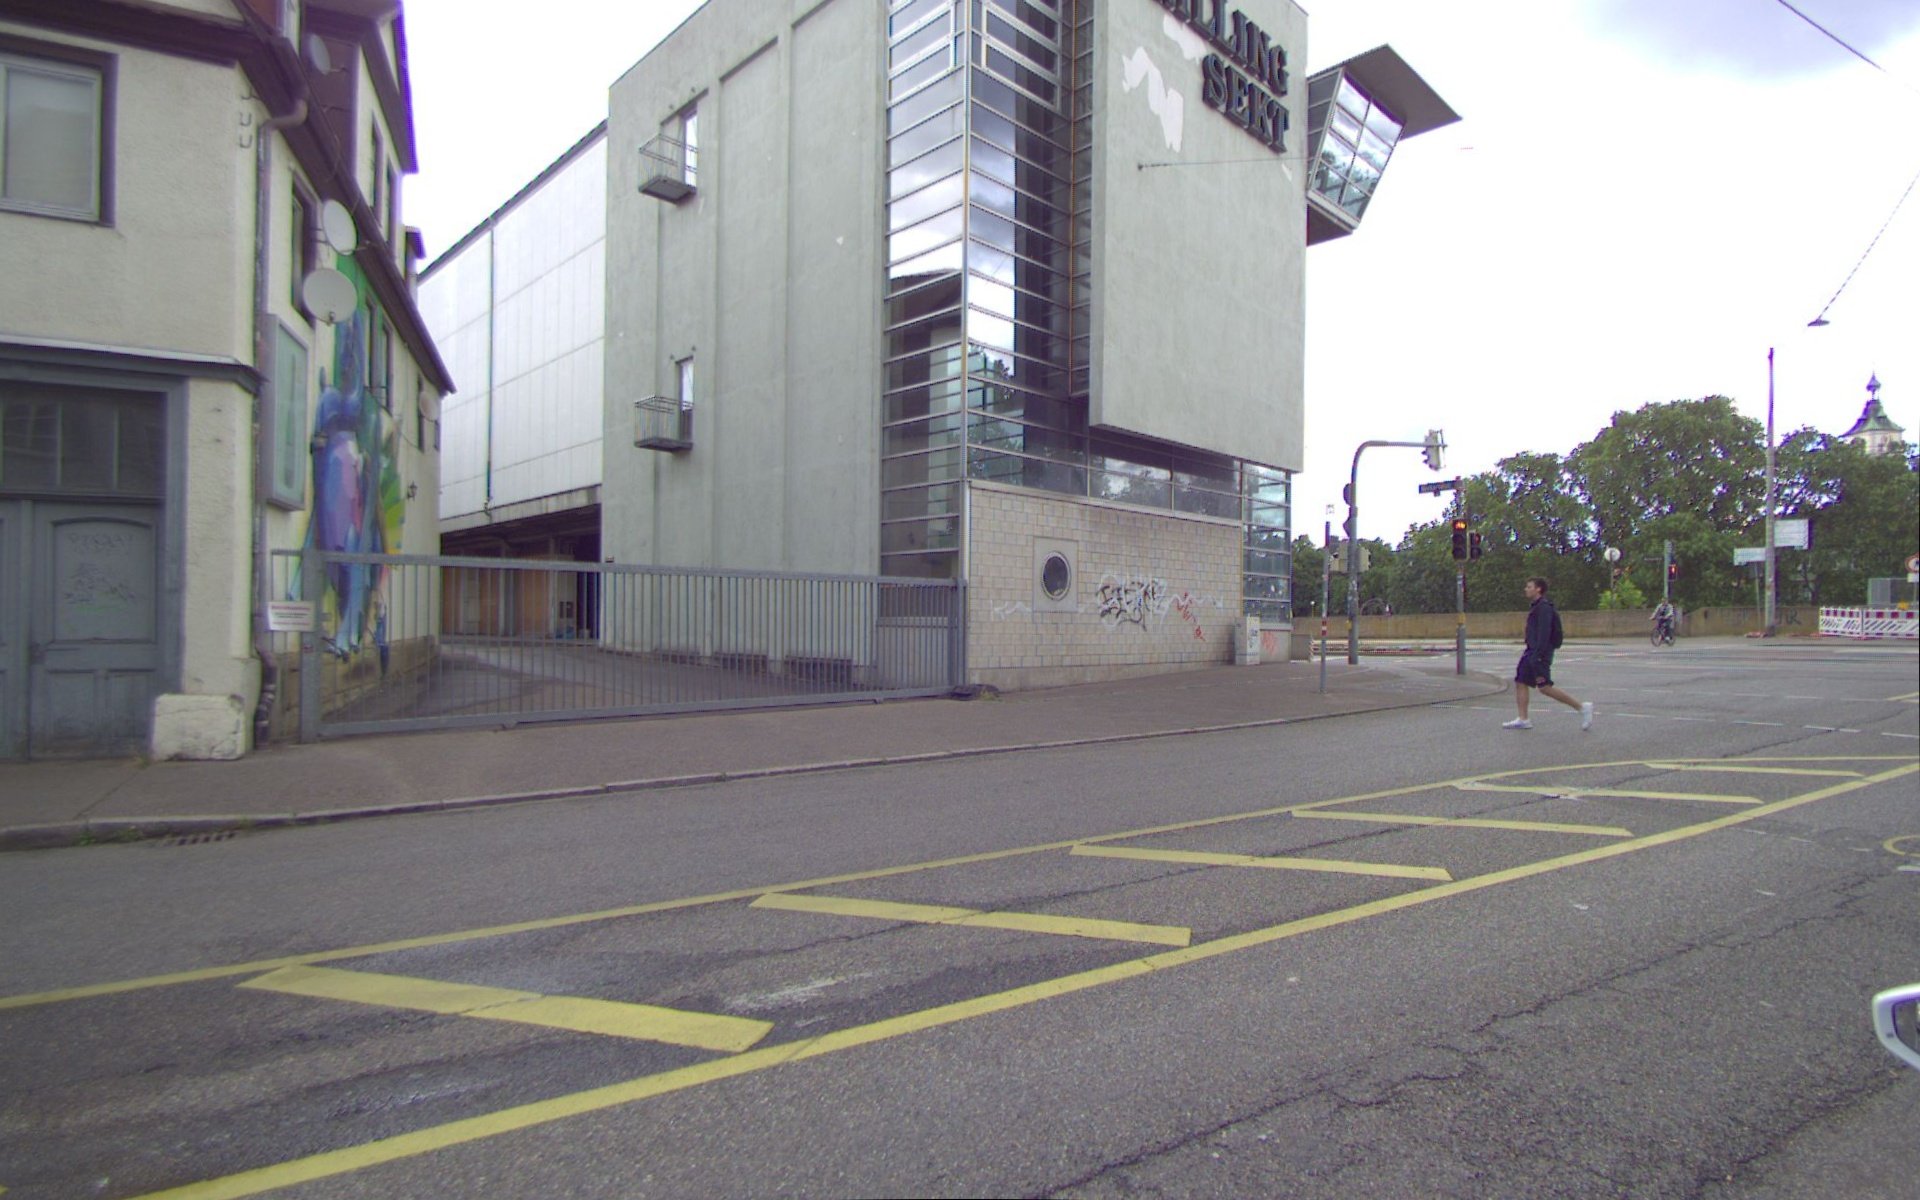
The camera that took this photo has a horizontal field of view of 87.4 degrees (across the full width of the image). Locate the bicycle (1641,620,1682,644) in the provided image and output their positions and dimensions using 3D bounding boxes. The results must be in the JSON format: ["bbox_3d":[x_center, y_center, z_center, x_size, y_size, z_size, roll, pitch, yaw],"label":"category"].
[{"bbox_3d":[26.297,1.190,37.654,1.858,0.904,0.538,1,-1,-31],"label":"bicycle"}]

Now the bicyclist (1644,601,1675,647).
[{"bbox_3d":[26.175,0.898,37.591,0.802,1.723,0.719,1,-1,-32],"label":"bicyclist"}]

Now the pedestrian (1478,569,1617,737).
[{"bbox_3d":[7.105,0.598,12.176,1.045,1.911,1.083,-1,1,-30],"label":"pedestrian"}]
